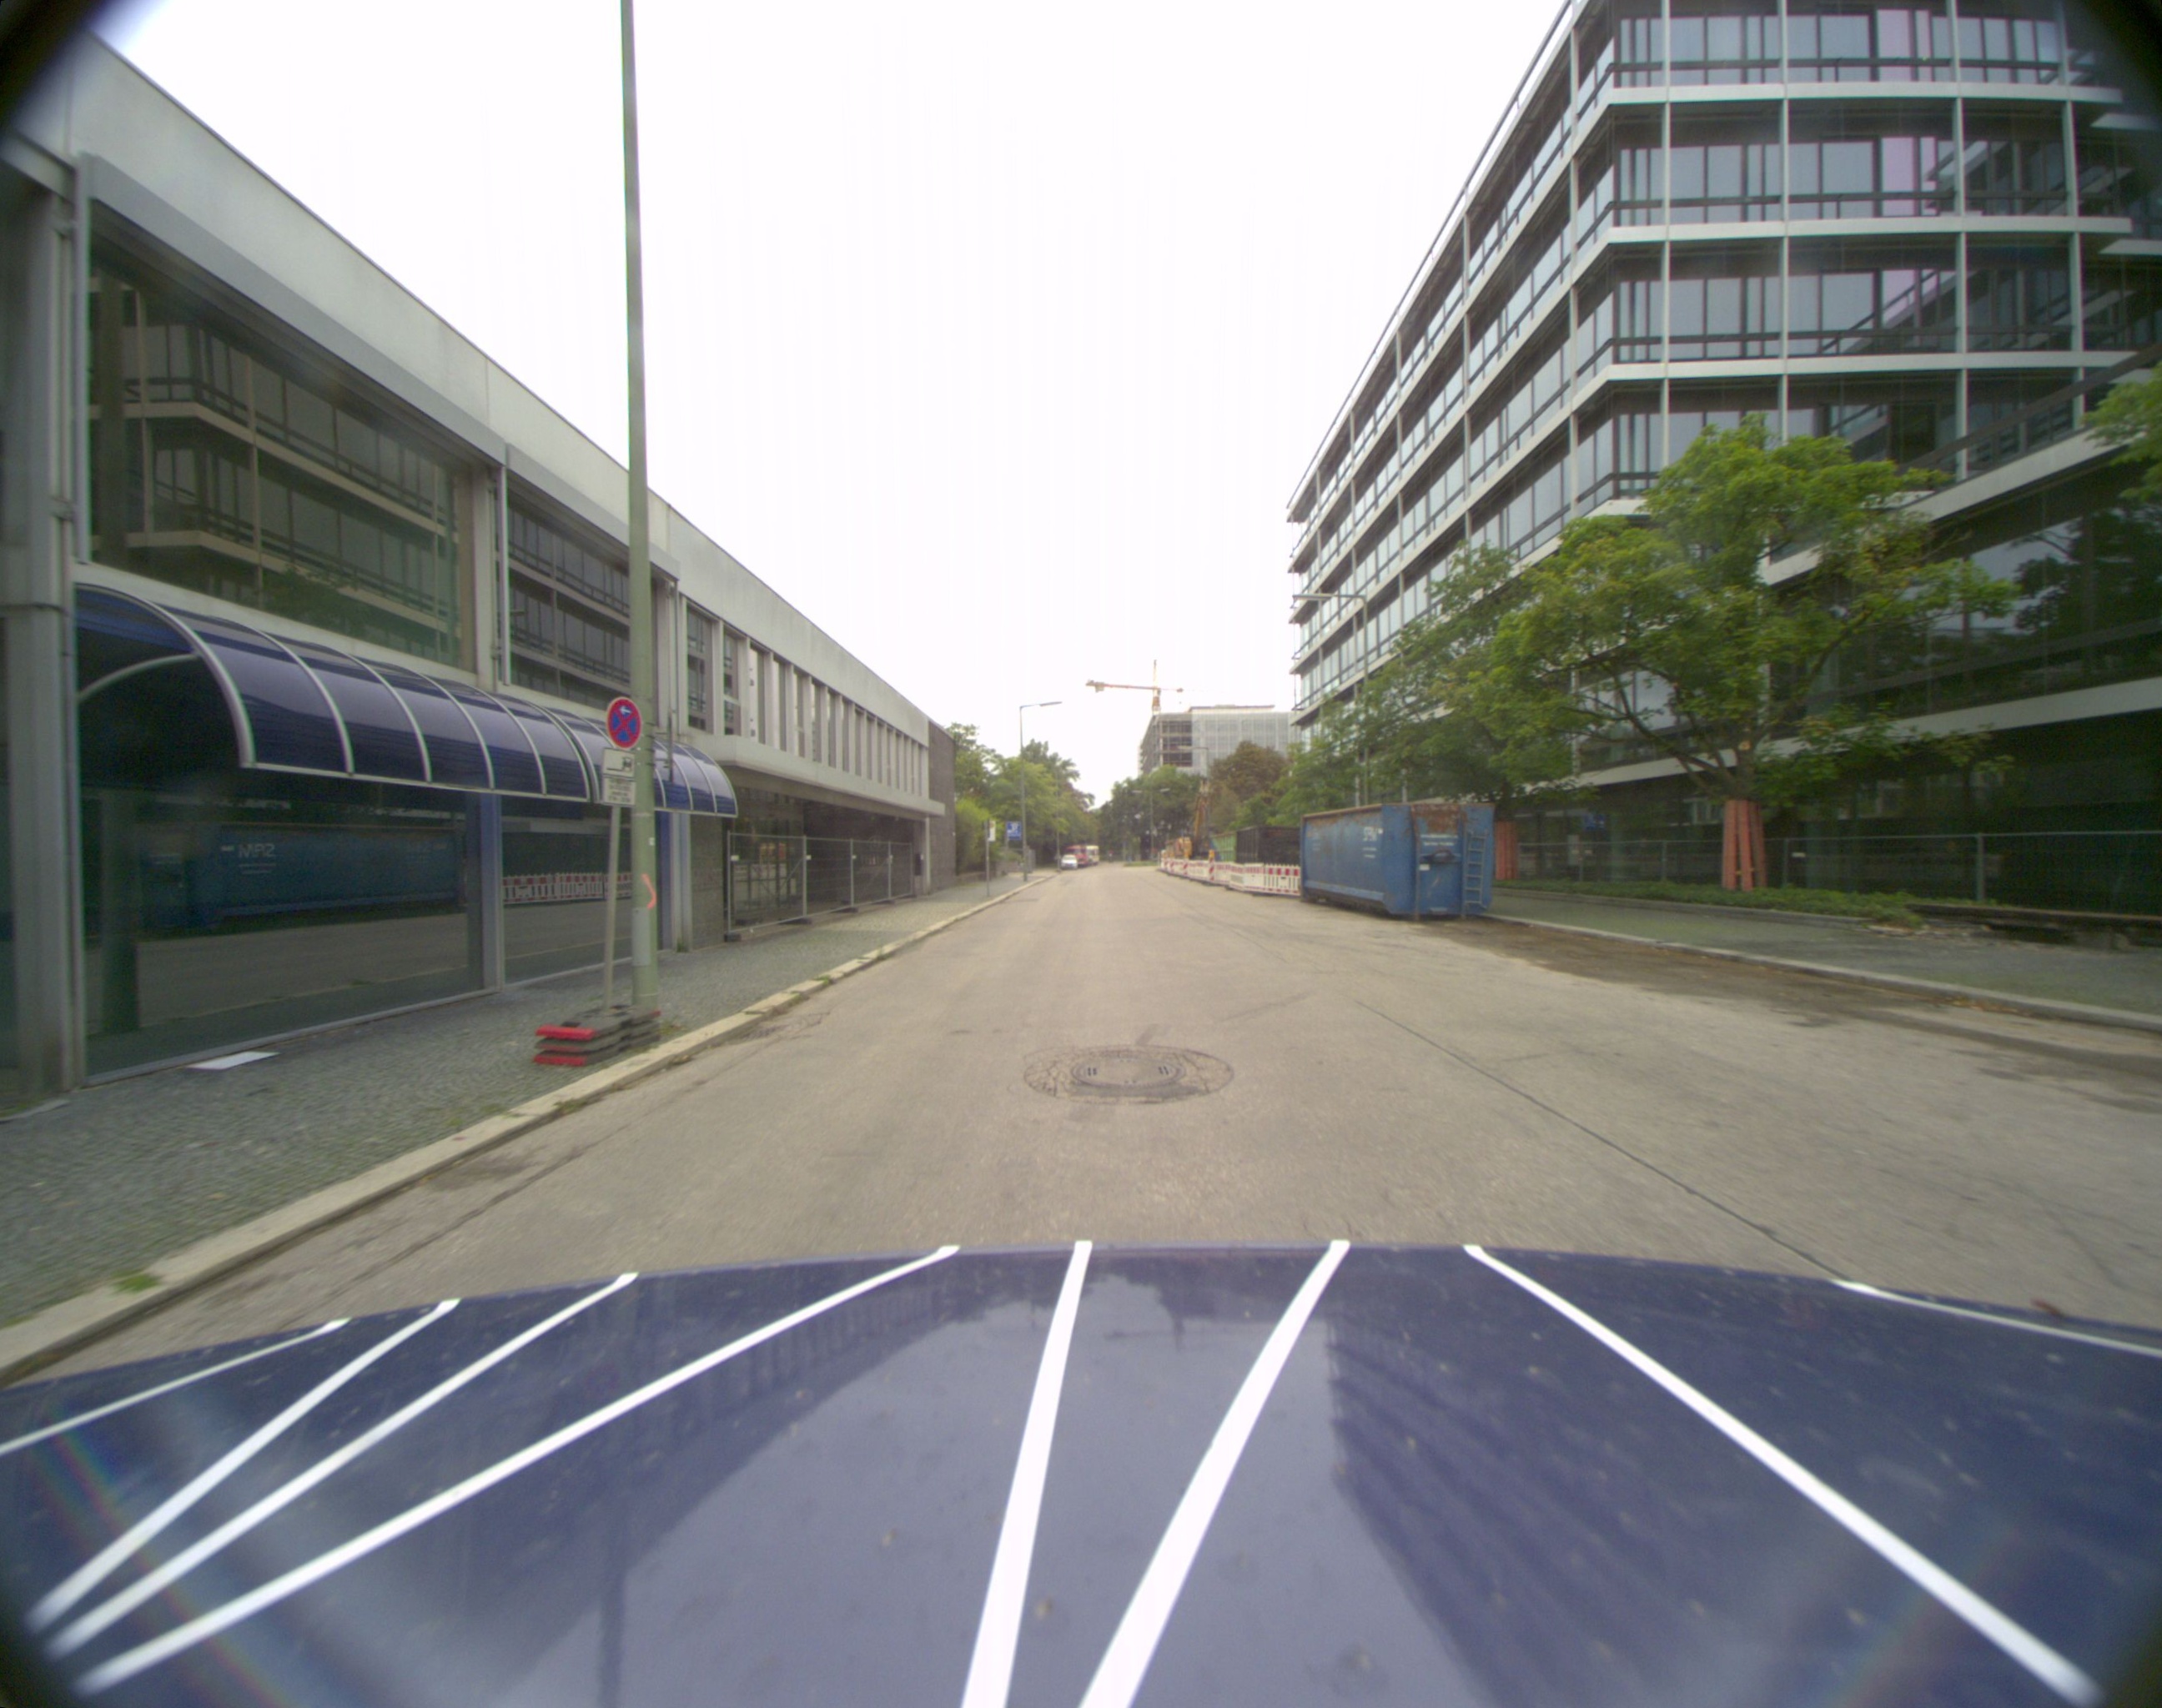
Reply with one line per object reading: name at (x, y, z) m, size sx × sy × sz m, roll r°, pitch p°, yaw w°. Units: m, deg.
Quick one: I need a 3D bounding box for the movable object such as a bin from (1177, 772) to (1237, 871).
movable object such as a bin at (8.678, -2.139, 53.264) m, size 3.241 × 6.286 × 8.337 m, roll -1°, pitch 1°, yaw 4°

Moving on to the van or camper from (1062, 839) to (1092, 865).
van or camper at (-0.395, -0.288, 85.753) m, size 2.666 × 2.751 × 6.916 m, roll -1°, pitch 1°, yaw 4°

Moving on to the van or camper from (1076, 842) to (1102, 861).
van or camper at (1.148, -0.330, 100.027) m, size 2.665 × 2.436 × 6.448 m, roll -1°, pitch 1°, yaw 7°

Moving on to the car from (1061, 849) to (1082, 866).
car at (-0.922, 0.347, 79.495) m, size 1.912 × 1.627 × 4.000 m, roll -1°, pitch 1°, yaw 3°
